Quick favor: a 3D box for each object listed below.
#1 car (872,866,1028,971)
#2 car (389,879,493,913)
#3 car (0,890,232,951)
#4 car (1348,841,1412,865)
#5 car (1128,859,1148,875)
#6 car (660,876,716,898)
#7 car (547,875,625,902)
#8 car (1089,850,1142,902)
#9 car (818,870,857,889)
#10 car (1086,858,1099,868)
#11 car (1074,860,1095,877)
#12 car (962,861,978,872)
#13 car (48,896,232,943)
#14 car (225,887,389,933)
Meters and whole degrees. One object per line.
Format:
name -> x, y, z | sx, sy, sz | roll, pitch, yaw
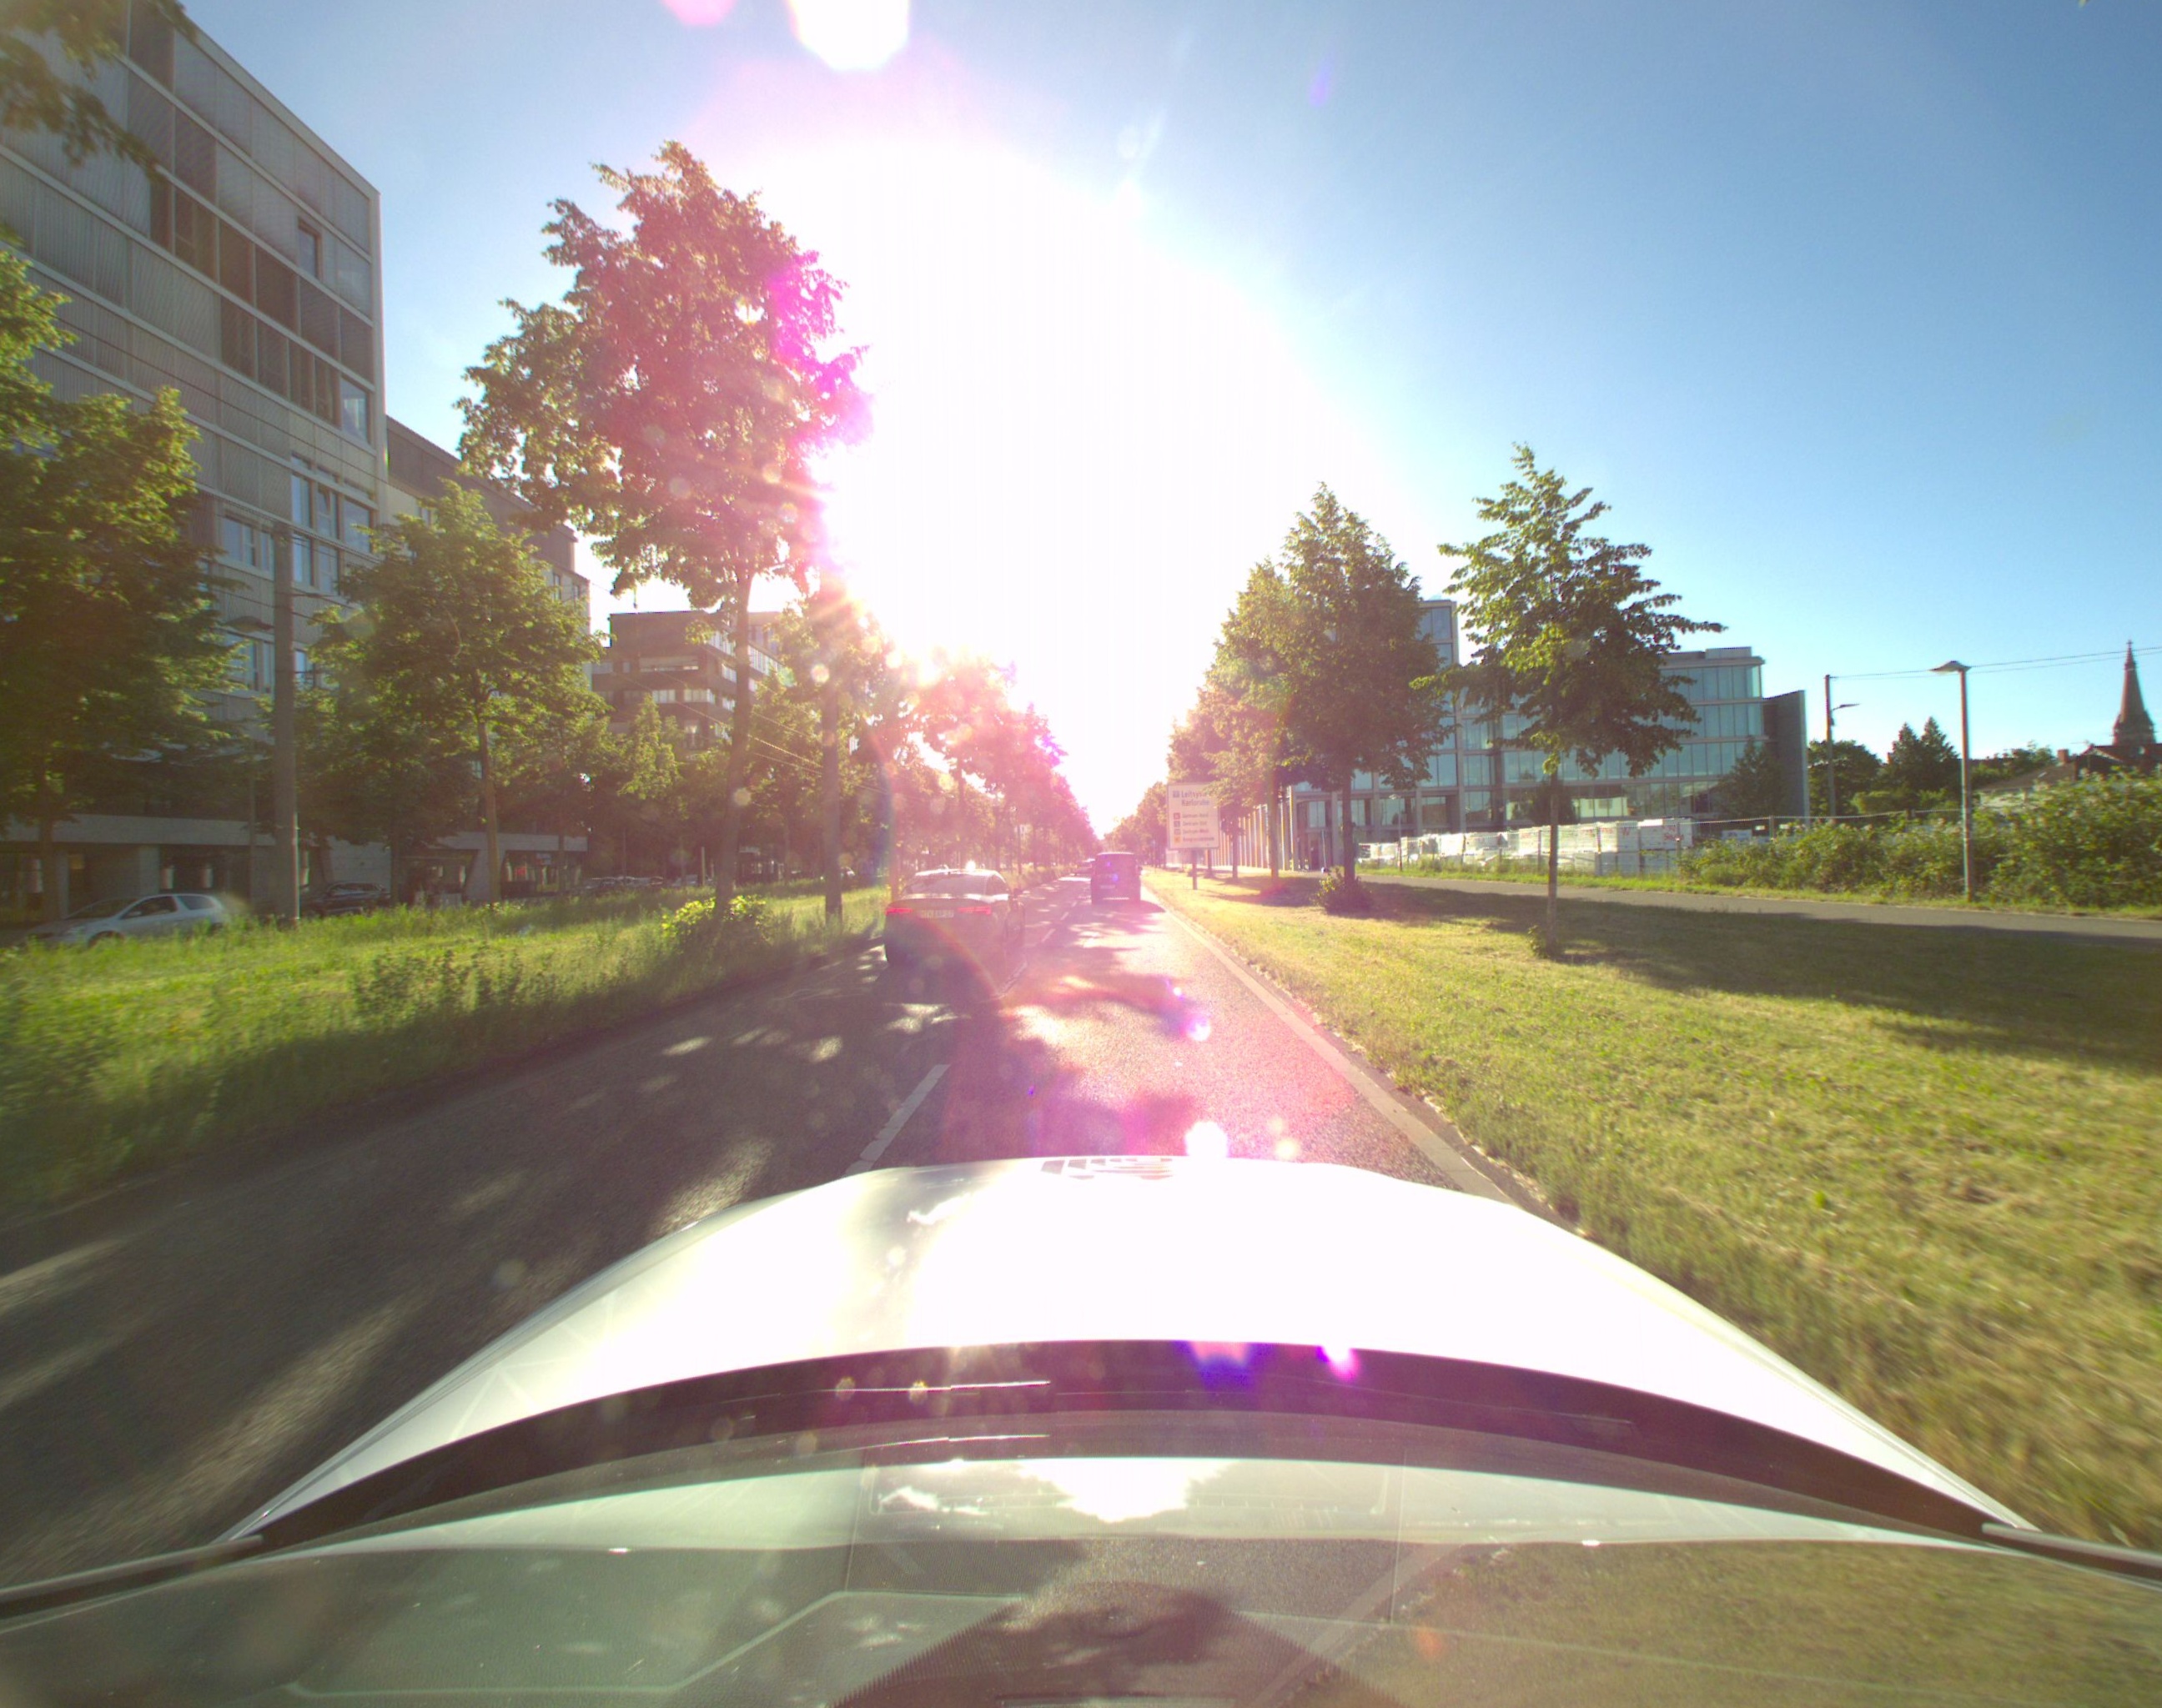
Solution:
car -> -1.909, 0.901, 13.100 | 1.714, 1.366, 4.147 | 0, 0, 2
car -> -29.537, 1.923, 37.718 | 1.727, 1.354, 3.755 | -2, 0, 2
car -> -24.333, 1.636, 20.684 | 1.761, 1.238, 3.488 | -2, 0, 3
car -> 26.709, -0.086, 72.879 | 5.038, 1.982, 1.942 | -2, -1, 8
car -> 5.364, 1.206, 76.725 | 1.714, 1.425, 3.818 | 0, 0, 2
car -> -28.763, 2.369, 59.759 | 1.708, 1.420, 4.547 | -2, 0, 2
car -> -29.581, 2.031, 48.856 | 1.708, 1.420, 4.547 | -2, 0, 2
car -> 1.225, 0.780, 29.881 | 1.791, 1.777, 4.001 | 0, 0, 1
car -> -20.027, 2.053, 67.084 | 1.791, 1.292, 4.312 | -3, 1, 1
car -> 1.870, 1.422, 128.123 | 1.835, 1.534, 3.943 | -2, 0, 3
car -> 0.316, 1.374, 78.419 | 1.936, 1.441, 3.999 | -2, 0, 0
car -> -18.013, 1.978, 132.600 | 1.791, 1.689, 4.322 | -1, 0, 2
car -> -30.085, 2.057, 26.202 | 1.662, 1.207, 3.584 | -2, 0, 2
car -> -29.876, 2.120, 31.702 | 1.662, 1.420, 4.806 | -2, 0, 2
